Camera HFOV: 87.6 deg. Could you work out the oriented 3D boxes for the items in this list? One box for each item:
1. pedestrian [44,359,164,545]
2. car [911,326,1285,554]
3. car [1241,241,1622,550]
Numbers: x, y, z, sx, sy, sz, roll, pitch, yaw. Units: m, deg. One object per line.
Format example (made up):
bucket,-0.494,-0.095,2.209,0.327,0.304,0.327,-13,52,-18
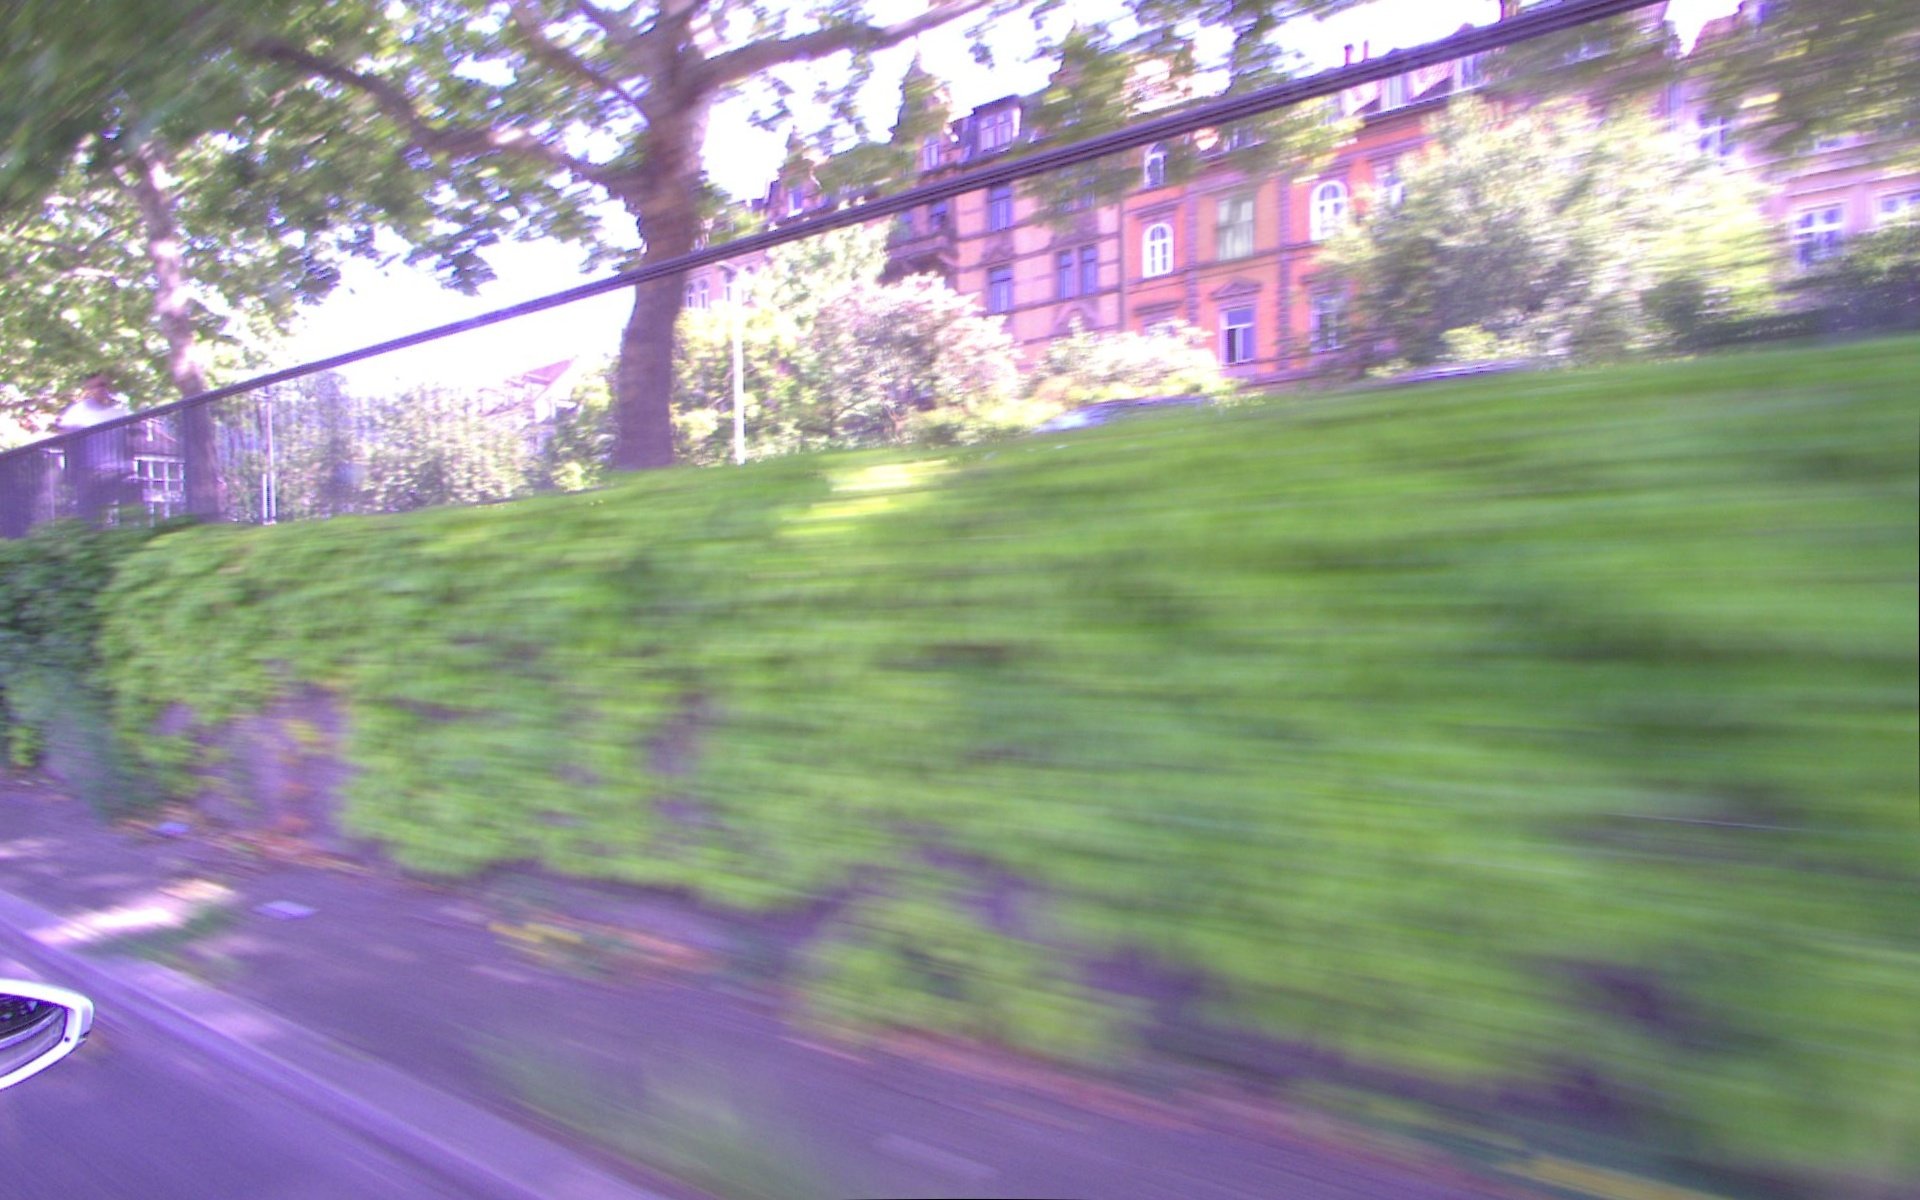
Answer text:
pedestrian,-8.043,-1.347,9.416,0.641,1.613,0.663,0,2,32
car,1.294,-1.004,7.747,1.626,1.130,3.725,0,0,29
car,3.086,-0.973,6.299,1.626,1.130,3.723,0,0,31
